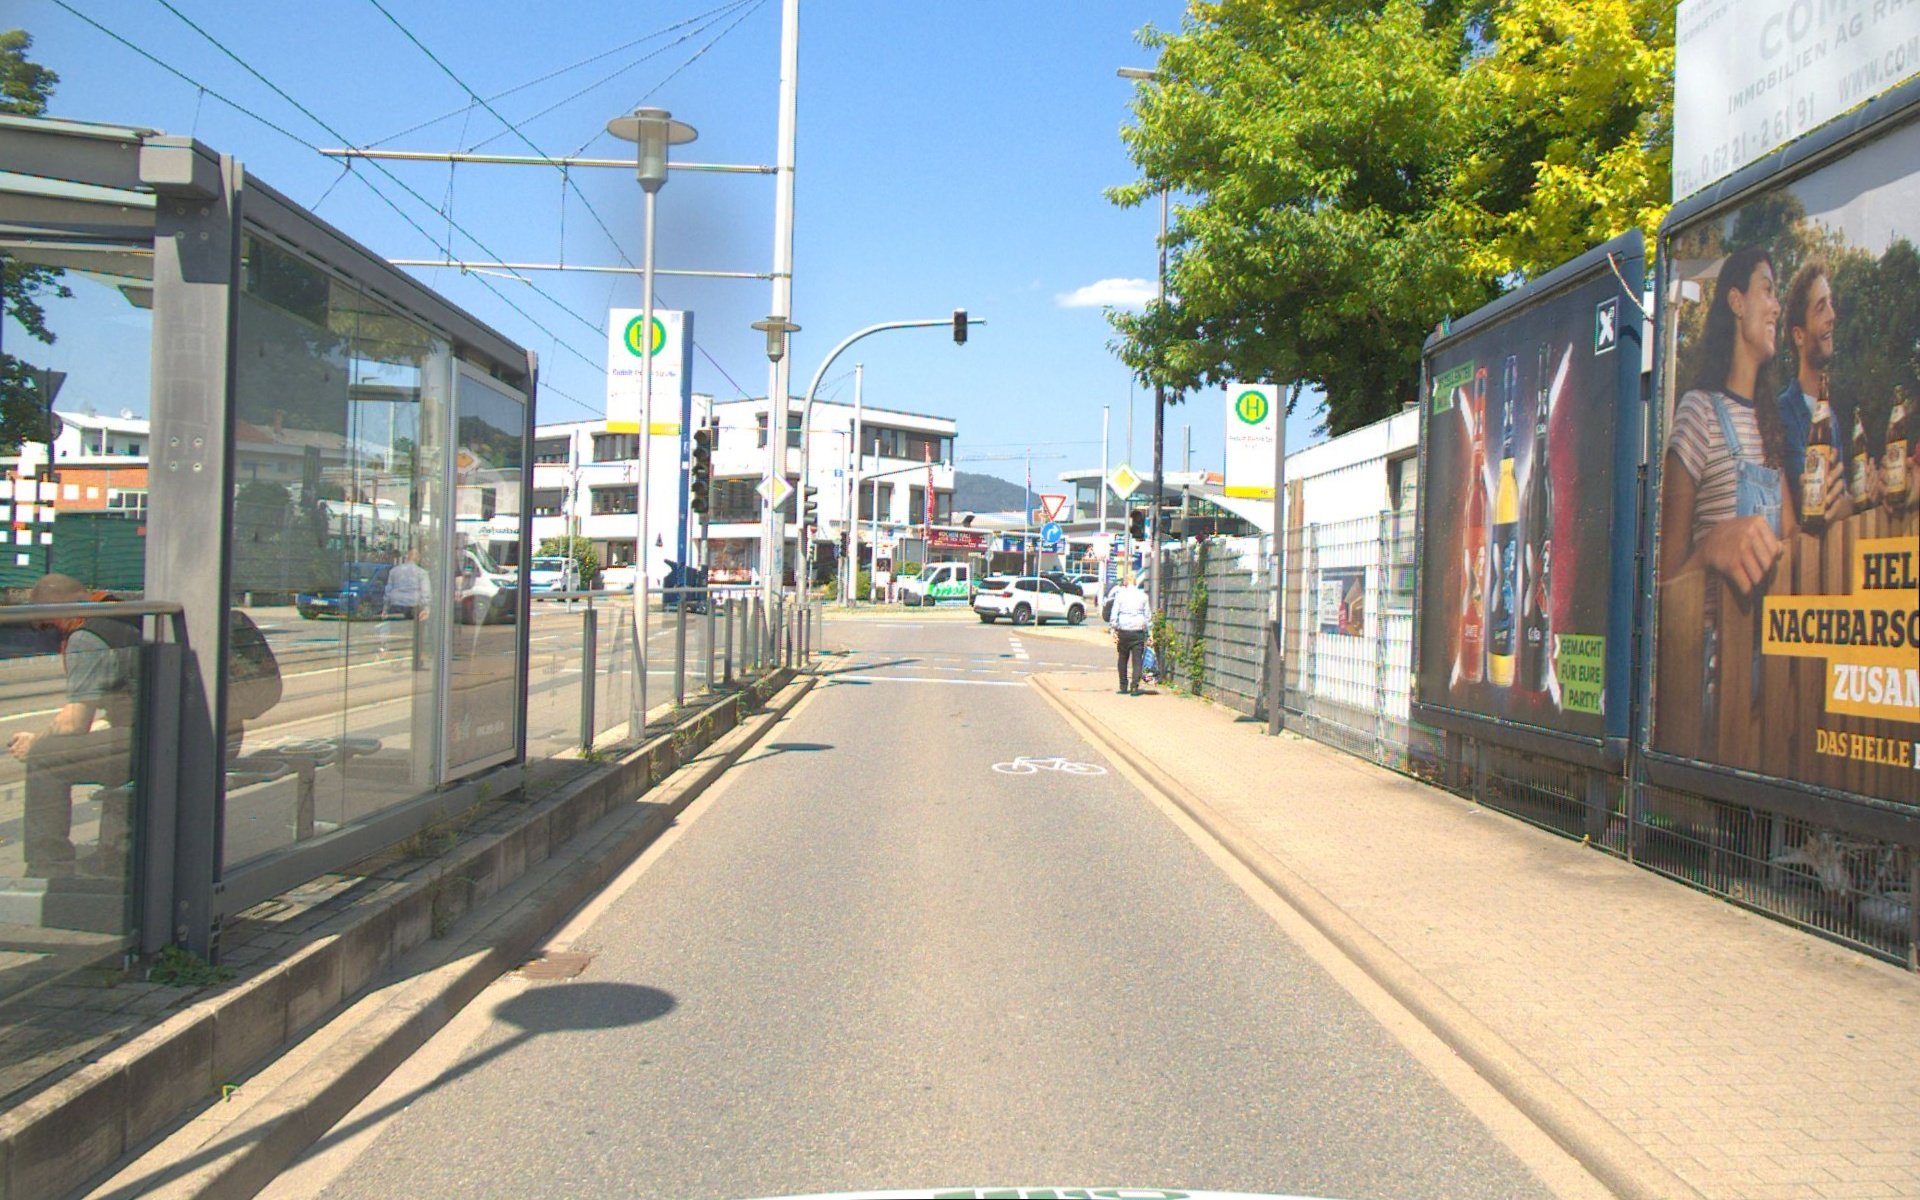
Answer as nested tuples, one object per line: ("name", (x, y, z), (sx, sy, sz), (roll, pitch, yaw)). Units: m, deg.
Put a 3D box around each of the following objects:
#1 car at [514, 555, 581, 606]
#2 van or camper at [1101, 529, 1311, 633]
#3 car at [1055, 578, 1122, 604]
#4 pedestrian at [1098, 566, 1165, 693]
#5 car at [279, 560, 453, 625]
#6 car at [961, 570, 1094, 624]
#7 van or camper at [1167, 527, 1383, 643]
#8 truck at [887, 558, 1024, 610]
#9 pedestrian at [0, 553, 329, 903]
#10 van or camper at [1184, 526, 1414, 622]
("car", (-18.506, -0.842, 74.411), (2.120, 2.049, 5.012), (3, -1, -5))
("van or camper", (6.944, -0.557, 47.240), (5.690, 2.822, 2.091), (1, 1, 2))
("car", (8.387, -0.547, 107.652), (1.853, 1.616, 4.898), (-1, -1, 42))
("pedestrian", (2.380, 0.403, 23.037), (0.796, 1.729, 0.887), (0, 0, -3))
("car", (-15.463, -0.196, 43.263), (1.766, 1.564, 4.156), (2, 1, 28))
("car", (2.354, -0.083, 56.962), (4.525, 1.763, 1.969), (1, 1, -42))
("van or camper", (8.390, -0.446, 44.459), (5.391, 2.862, 2.049), (2, 2, 3))
("truck", (-0.199, -0.766, 80.148), (6.290, 2.378, 2.191), (1, 1, -26))
("pedestrian", (-2.825, 0.415, 5.791), (0.924, 1.118, 0.726), (2, 1, -2))
("van or camper", (10.859, -0.829, 53.336), (6.918, 2.998, 2.334), (0, 0, -1))
